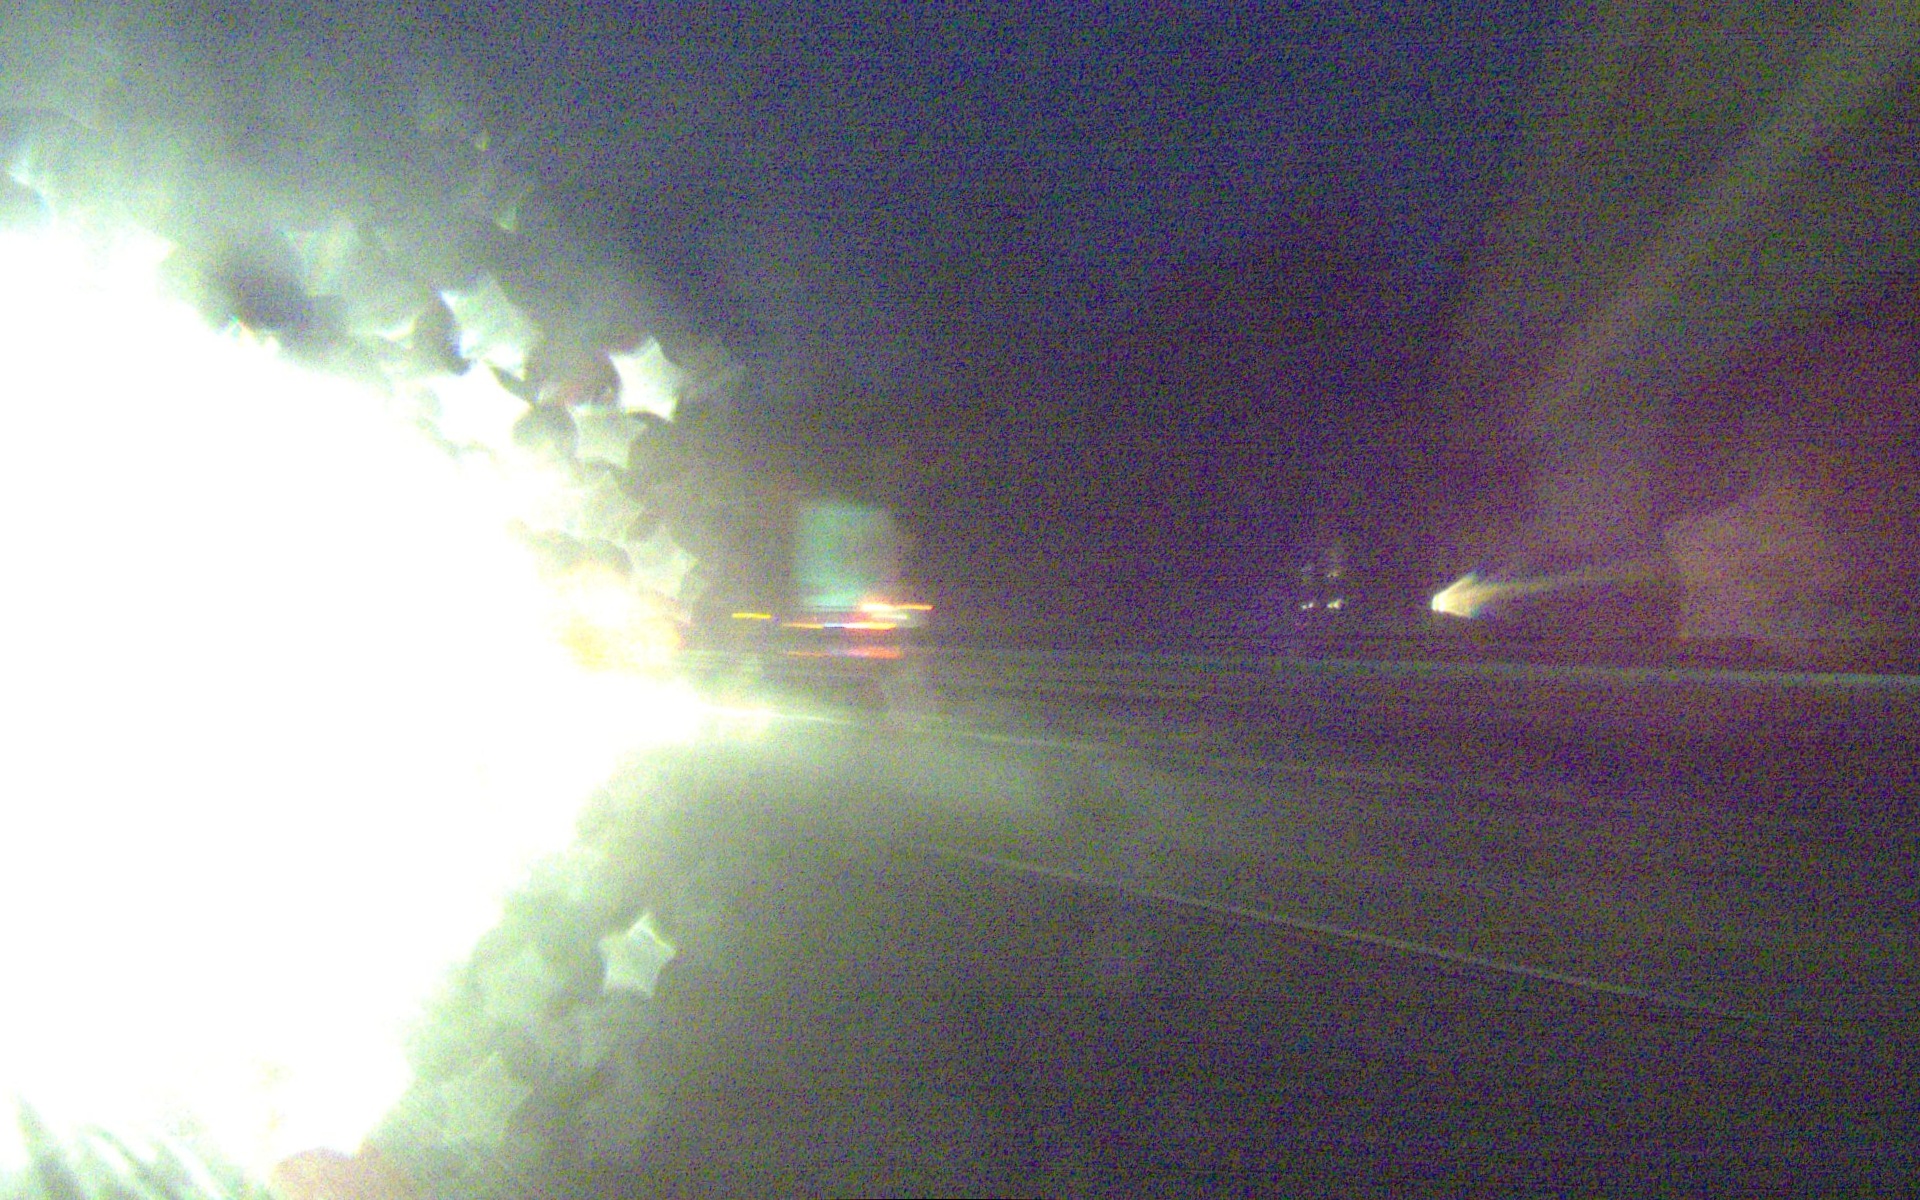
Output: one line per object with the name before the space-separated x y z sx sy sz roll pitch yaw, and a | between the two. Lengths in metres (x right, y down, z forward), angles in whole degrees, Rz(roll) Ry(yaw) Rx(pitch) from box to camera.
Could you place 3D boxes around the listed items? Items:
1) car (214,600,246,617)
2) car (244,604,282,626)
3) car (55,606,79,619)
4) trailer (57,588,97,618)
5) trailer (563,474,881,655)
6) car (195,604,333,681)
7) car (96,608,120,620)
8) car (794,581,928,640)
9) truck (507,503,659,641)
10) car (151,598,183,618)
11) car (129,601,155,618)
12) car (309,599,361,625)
car | -66.899 0.786 92.733 3.805 1.506 1.744 0 1 44
car | -55.821 1.217 81.041 1.787 1.624 4.201 -1 -1 -45
car | -113.757 1.555 128.963 4.307 1.520 1.861 0 1 43
trailer | -124.741 0.468 142.898 11.726 4.205 3.317 -1 -1 45
trailer | -7.636 -0.903 30.346 12.489 4.490 2.548 0 1 42
car | -15.713 0.924 22.798 3.846 1.587 1.633 -2 -2 41
car | -110.102 1.786 130.792 4.167 1.405 1.819 -1 0 42
car | -3.172 0.306 32.113 3.995 1.741 1.974 0 0 39
truck | -13.297 -0.925 35.484 5.851 4.437 2.537 0 1 43
car | -81.862 0.793 104.413 5.138 1.924 1.964 0 1 45
car | -97.413 1.112 120.502 4.846 1.924 1.870 0 1 45
car | -42.093 0.783 68.103 4.332 1.660 1.822 0 1 42
